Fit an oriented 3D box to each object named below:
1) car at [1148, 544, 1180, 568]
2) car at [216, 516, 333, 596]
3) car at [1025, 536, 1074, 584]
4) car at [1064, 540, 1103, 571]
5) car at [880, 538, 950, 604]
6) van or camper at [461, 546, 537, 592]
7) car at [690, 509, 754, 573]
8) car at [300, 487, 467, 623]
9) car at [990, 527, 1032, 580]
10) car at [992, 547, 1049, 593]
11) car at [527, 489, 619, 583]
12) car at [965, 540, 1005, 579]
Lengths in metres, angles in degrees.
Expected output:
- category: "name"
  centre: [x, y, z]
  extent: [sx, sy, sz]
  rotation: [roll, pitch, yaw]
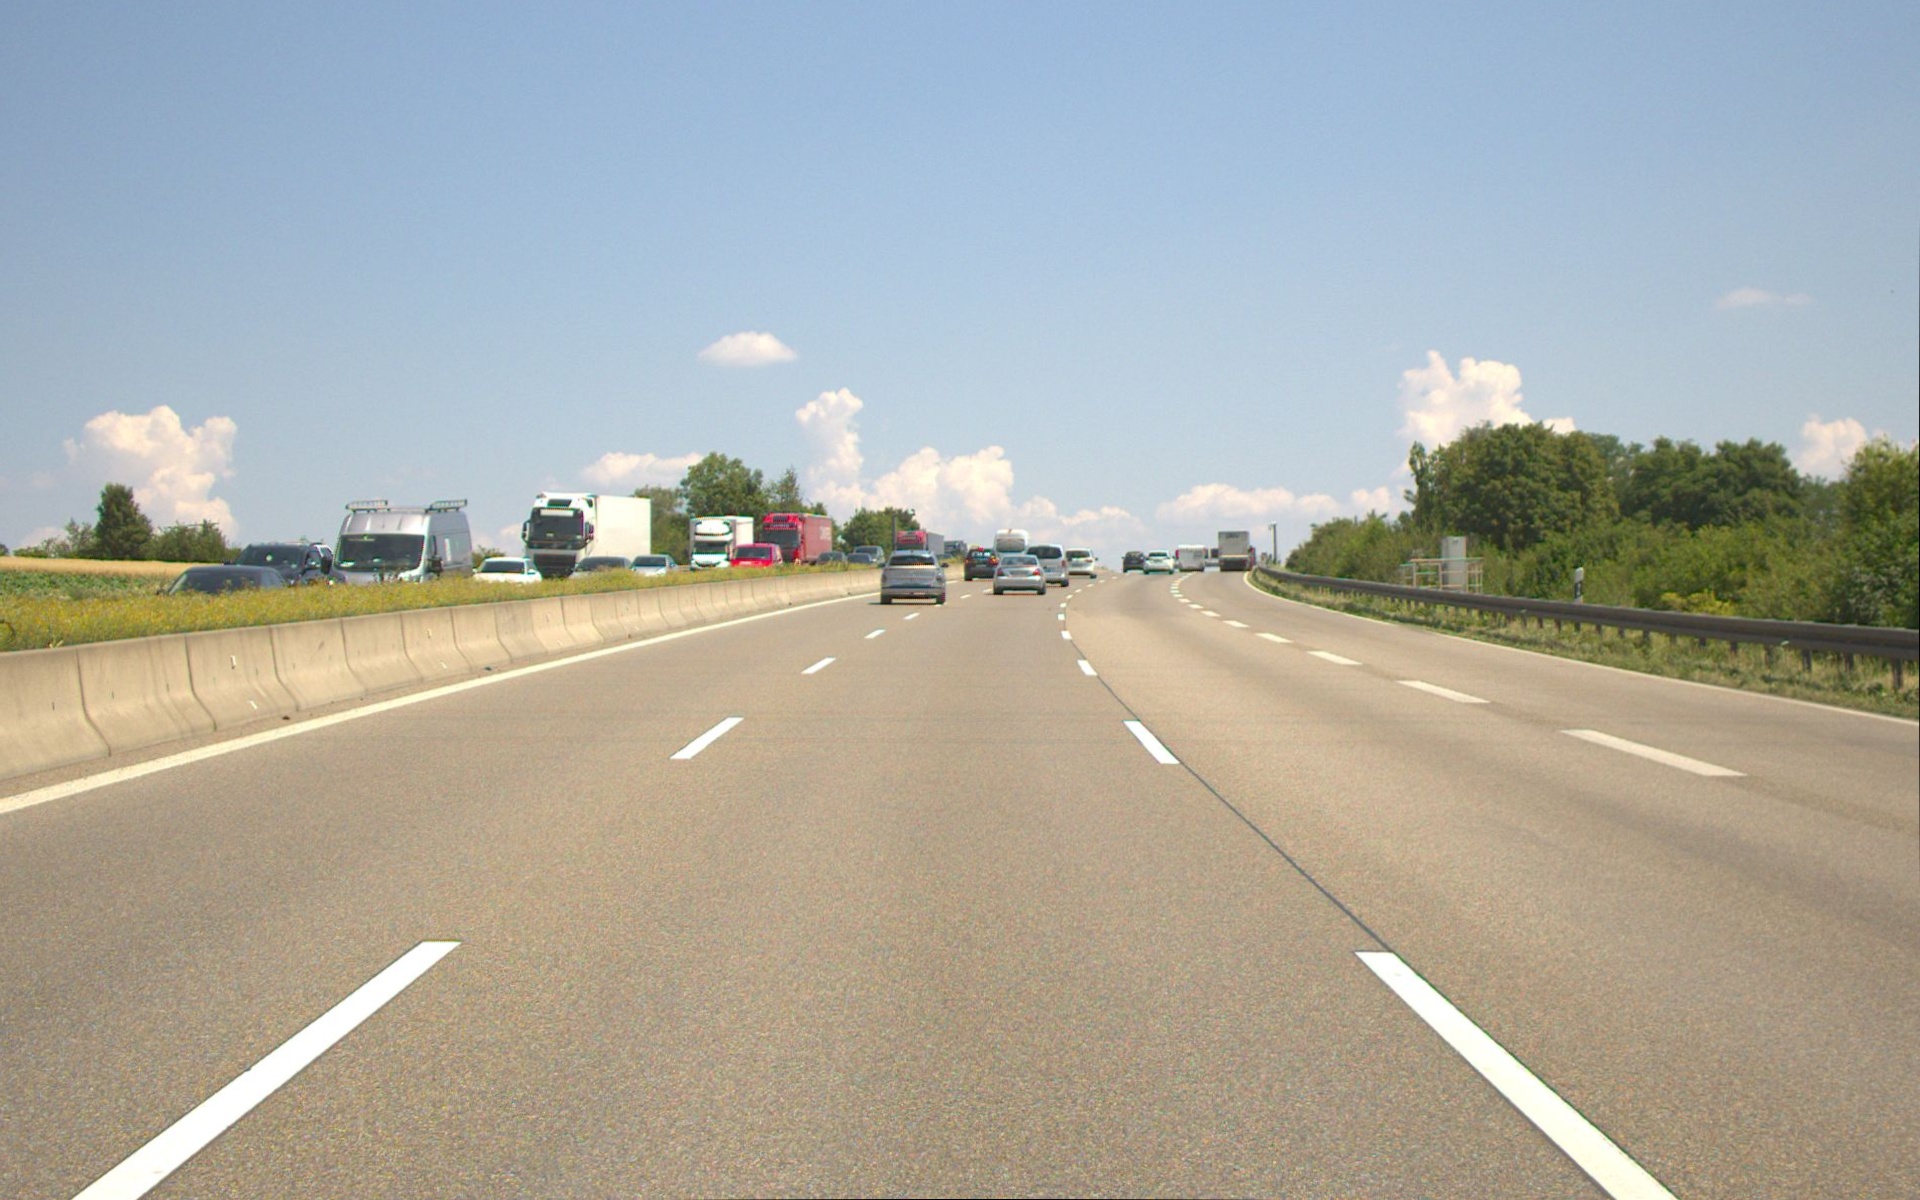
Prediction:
- category: "car"
  centre: [12.476, -2.674, 209.798]
  extent: [1.902, 1.437, 4.000]
  rotation: [1, 1, 4]
- category: "car"
  centre: [-14.843, -0.950, 74.614]
  extent: [1.737, 1.664, 4.000]
  rotation: [1, 1, 0]
- category: "car"
  centre: [3.872, -1.727, 148.440]
  extent: [1.994, 1.897, 3.999]
  rotation: [0, -2, 3]
- category: "car"
  centre: [6.713, -2.425, 186.846]
  extent: [1.994, 1.546, 4.000]
  rotation: [2, 1, 3]
- category: "car"
  centre: [-1.317, -0.818, 100.583]
  extent: [1.993, 1.744, 4.000]
  rotation: [1, -2, -1]
- category: "van or camper"
  centre: [-13.812, -0.912, 103.160]
  extent: [1.737, 1.340, 4.000]
  rotation: [1, 0, 0]
- category: "car"
  centre: [-12.851, -3.183, 186.314]
  extent: [2.542, 3.368, 8.179]
  rotation: [1, 1, 3]
- category: "car"
  centre: [-11.855, -0.918, 71.138]
  extent: [2.405, 2.670, 6.037]
  rotation: [1, 0, 0]
- category: "car"
  centre: [2.743, -2.510, 185.167]
  extent: [2.180, 2.616, 4.671]
  rotation: [1, -2, 2]
- category: "car"
  centre: [2.143, -1.051, 123.617]
  extent: [1.993, 1.579, 4.000]
  rotation: [0, -1, 0]
- category: "car"
  centre: [-16.216, -2.660, 144.523]
  extent: [2.542, 3.819, 8.179]
  rotation: [1, 1, 3]
- category: "car"
  centre: [1.260, -2.031, 172.860]
  extent: [1.847, 1.854, 4.205]
  rotation: [1, 2, 2]
